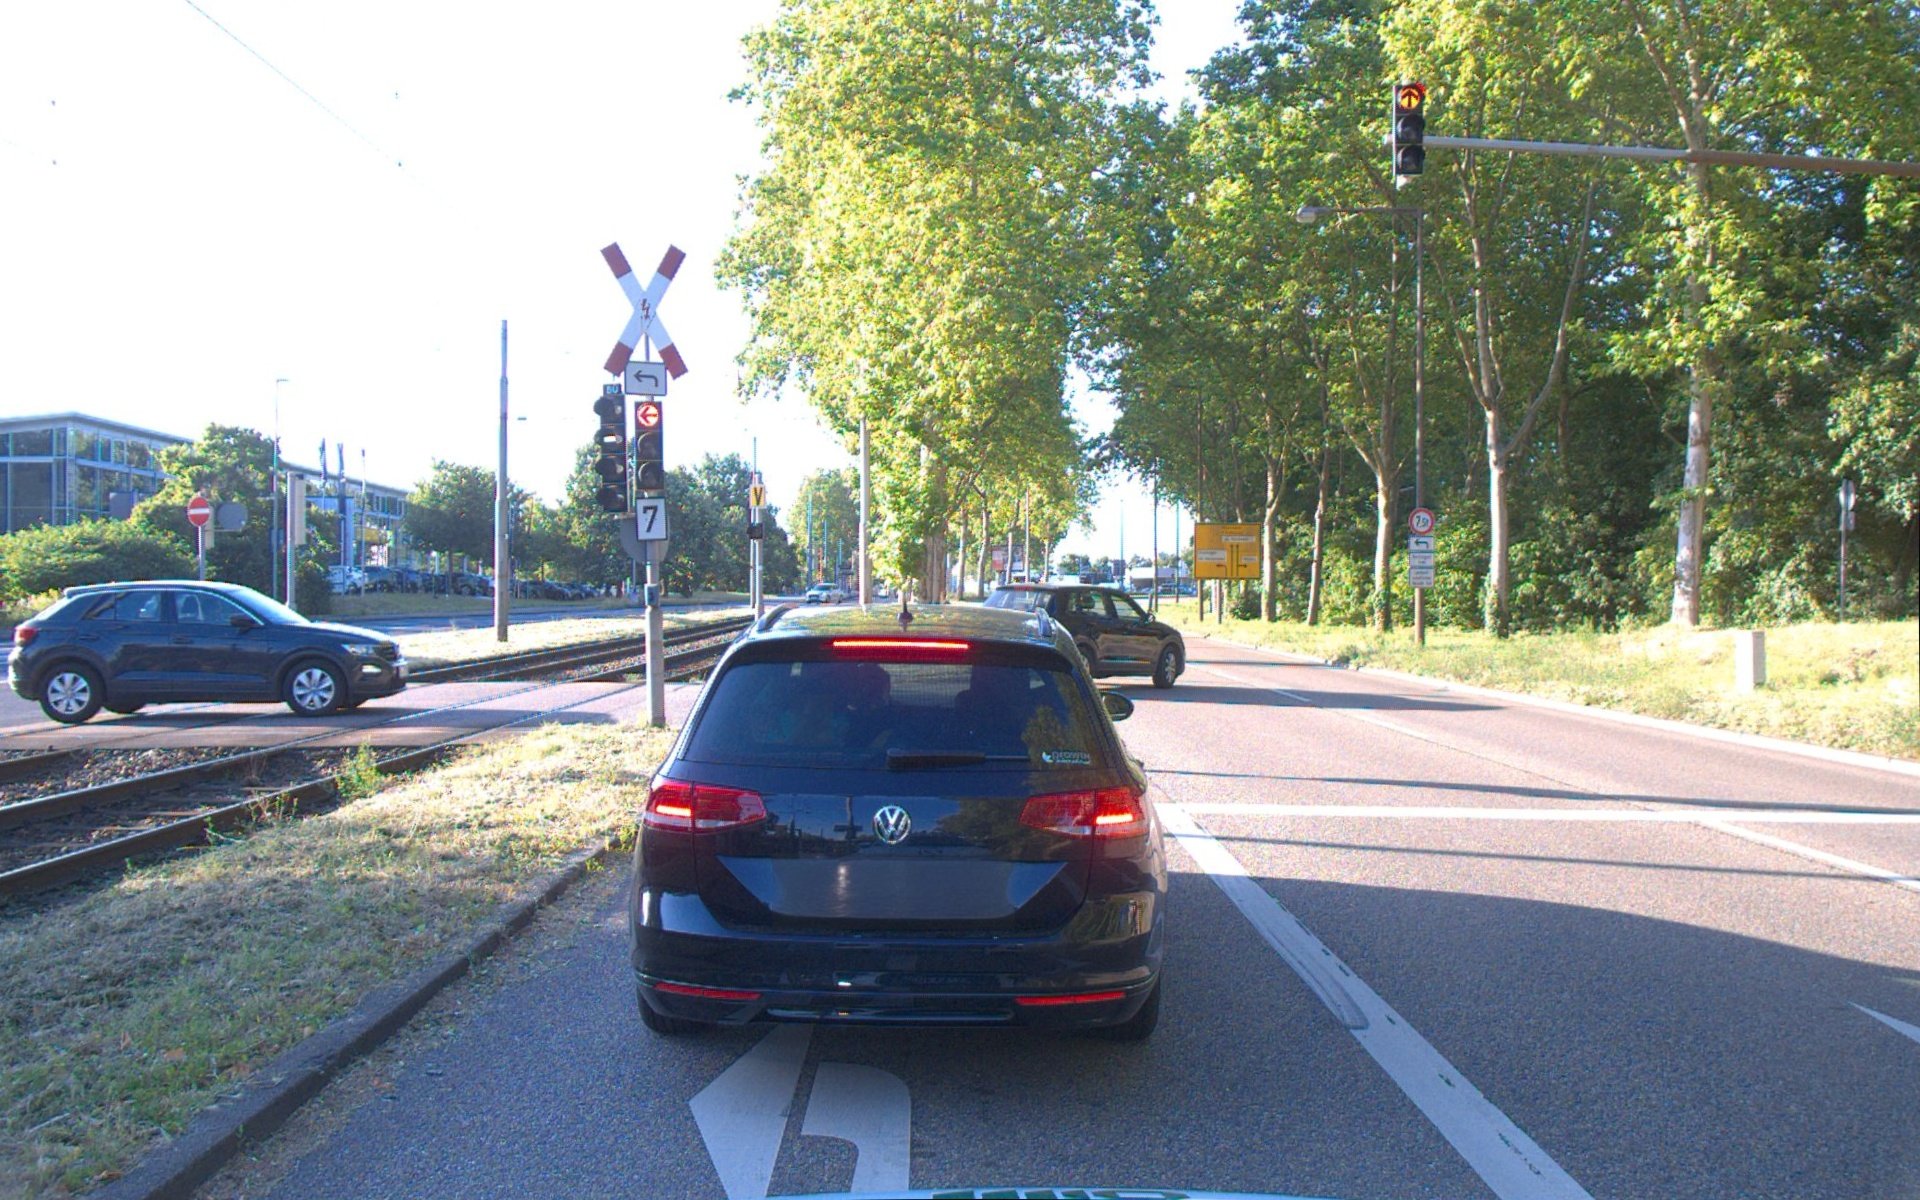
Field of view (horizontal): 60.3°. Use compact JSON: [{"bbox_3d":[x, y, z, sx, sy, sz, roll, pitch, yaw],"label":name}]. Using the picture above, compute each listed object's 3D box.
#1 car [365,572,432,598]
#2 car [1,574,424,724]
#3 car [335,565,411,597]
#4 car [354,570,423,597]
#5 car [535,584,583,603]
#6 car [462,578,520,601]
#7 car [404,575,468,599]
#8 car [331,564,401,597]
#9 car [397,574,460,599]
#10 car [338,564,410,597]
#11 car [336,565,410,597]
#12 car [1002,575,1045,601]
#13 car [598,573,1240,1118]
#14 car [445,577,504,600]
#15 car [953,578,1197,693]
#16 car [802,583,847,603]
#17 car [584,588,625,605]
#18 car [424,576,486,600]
[{"bbox_3d":[-35.549,-0.964,104.708,3.930,1.583,1.732,1,0,-22],"label":"car"},{"bbox_3d":[-8.468,0.527,19.052,4.073,1.588,1.710,-1,0,-7],"label":"car"},{"bbox_3d":[-32.916,-1.056,92.712,3.930,1.734,1.732,1,0,-22],"label":"car"},{"bbox_3d":[-35.208,-0.990,101.929,3.930,1.583,1.732,1,0,-22],"label":"car"},{"bbox_3d":[-35.227,-0.572,145.370,3.909,1.649,1.742,1,0,-6],"label":"car"},{"bbox_3d":[-35.247,-0.779,124.468,3.909,1.649,1.742,1,0,-6],"label":"car"},{"bbox_3d":[-36.045,-0.877,113.797,3.913,1.583,1.740,1,0,-9],"label":"car"},{"bbox_3d":[-35.555,-1.162,99.014,3.930,1.848,1.732,1,0,-22],"label":"car"},{"bbox_3d":[-35.713,-0.897,111.102,3.930,1.583,1.732,1,0,-22],"label":"car"},{"bbox_3d":[-34.448,-1.129,97.276,3.930,1.848,1.732,1,0,-22],"label":"car"},{"bbox_3d":[-33.699,-1.066,94.951,3.930,1.734,1.732,1,0,-22],"label":"car"},{"bbox_3d":[6.425,-1.172,166.369,2.054,2.504,5.847,1,1,26],"label":"car"},{"bbox_3d":[-0.145,0.681,6.388,1.758,1.490,3.582,1,0,-1],"label":"car"},{"bbox_3d":[-35.577,-0.820,121.251,3.909,1.649,1.742,1,0,-6],"label":"car"},{"bbox_3d":[1.902,0.490,26.092,1.841,1.663,4.353,0,1,36],"label":"car"},{"bbox_3d":[-10.281,-0.546,126.201,1.824,1.507,4.092,1,1,21],"label":"car"},{"bbox_3d":[-35.971,-0.348,167.431,3.909,1.583,1.742,1,0,-5],"label":"car"},{"bbox_3d":[-35.785,-0.837,117.321,3.911,1.583,1.741,1,0,-7],"label":"car"}]
